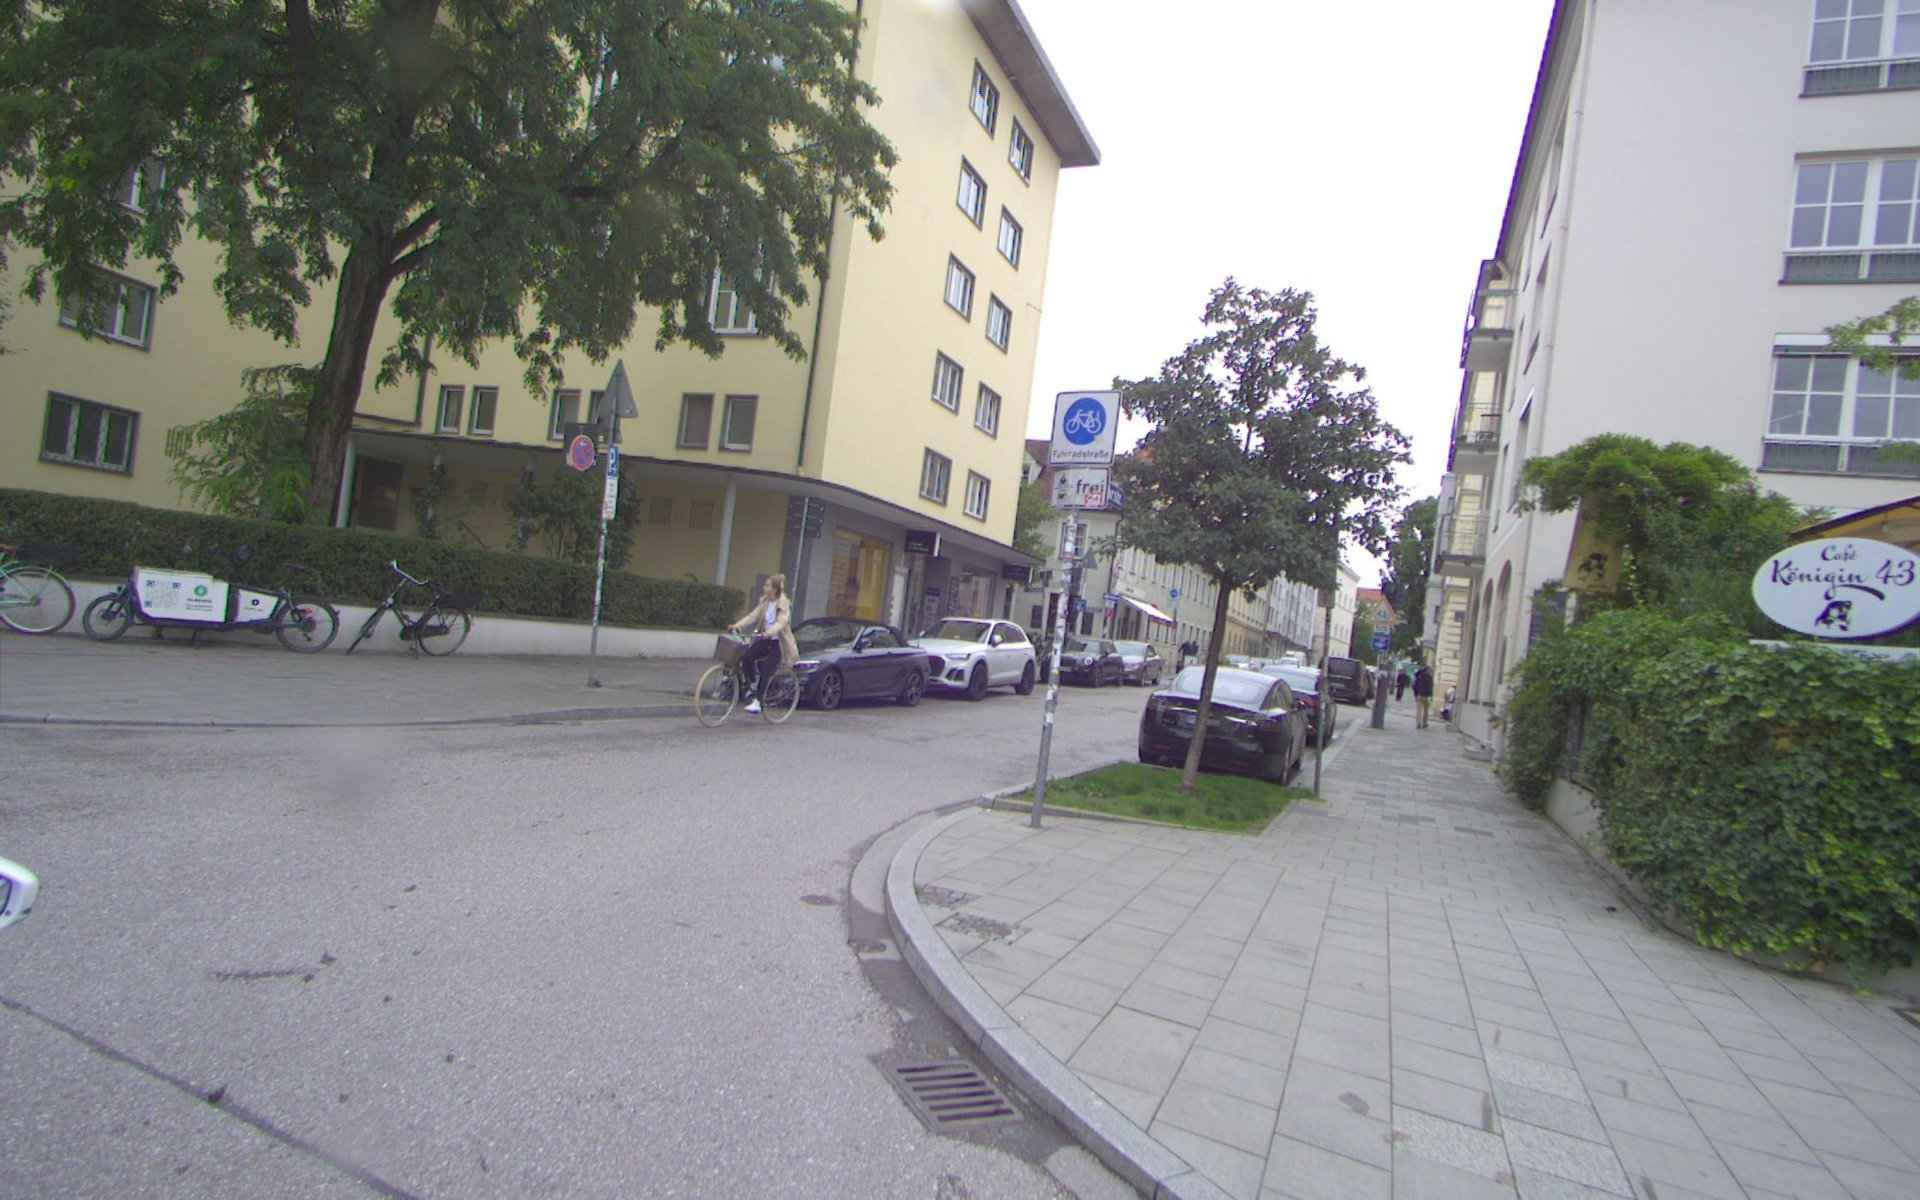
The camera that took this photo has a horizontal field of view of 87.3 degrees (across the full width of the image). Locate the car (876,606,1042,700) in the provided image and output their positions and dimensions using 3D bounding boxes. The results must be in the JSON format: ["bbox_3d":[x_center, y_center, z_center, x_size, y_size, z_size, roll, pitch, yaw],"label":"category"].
[{"bbox_3d":[0.107,1.110,21.420,1.825,1.682,4.316,4,-1,25],"label":"car"}]

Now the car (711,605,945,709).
[{"bbox_3d":[-1.995,0.972,16.599,1.633,1.383,4.332,4,-2,26],"label":"car"}]

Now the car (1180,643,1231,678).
[{"bbox_3d":[12.161,3.016,49.643,1.710,1.439,4.000,7,-1,23],"label":"car"}]

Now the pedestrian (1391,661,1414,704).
[{"bbox_3d":[22.125,4.126,50.293,0.774,2.038,0.832,7,0,19],"label":"pedestrian"}]

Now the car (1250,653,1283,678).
[{"bbox_3d":[20.482,4.341,67.078,1.662,1.426,3.999,7,0,21],"label":"car"}]

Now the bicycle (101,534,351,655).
[{"bbox_3d":[-8.408,-0.032,11.626,0.631,1.129,2.166,7,-1,41],"label":"bicycle"}]

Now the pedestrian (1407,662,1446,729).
[{"bbox_3d":[12.939,2.638,27.947,0.774,1.735,0.831,7,0,24],"label":"pedestrian"}]

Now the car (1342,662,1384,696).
[{"bbox_3d":[22.430,4.361,55.904,1.797,1.536,4.237,7,0,25],"label":"car"}]

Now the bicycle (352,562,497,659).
[{"bbox_3d":[-7.087,0.170,13.412,0.452,1.144,1.687,7,-1,23],"label":"bicycle"}]

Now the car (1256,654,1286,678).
[{"bbox_3d":[22.020,4.626,71.213,1.662,1.426,3.502,7,0,21],"label":"car"}]

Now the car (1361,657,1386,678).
[{"bbox_3d":[34.476,5.618,83.852,1.673,1.526,3.998,7,0,23],"label":"car"}]

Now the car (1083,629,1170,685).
[{"bbox_3d":[5.652,1.941,33.795,1.792,1.548,3.999,7,-1,24],"label":"car"}]

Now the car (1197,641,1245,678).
[{"bbox_3d":[14.104,3.231,54.154,1.757,1.682,4.000,7,-1,23],"label":"car"}]

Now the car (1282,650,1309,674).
[{"bbox_3d":[27.147,5.018,81.302,1.757,1.682,4.001,7,-1,21],"label":"car"}]

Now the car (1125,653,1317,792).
[{"bbox_3d":[3.916,1.632,14.458,1.934,1.415,4.505,7,-1,23],"label":"car"}]

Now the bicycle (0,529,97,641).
[{"bbox_3d":[-10.297,-0.217,10.419,1.923,1.098,0.526,6,0,-23],"label":"bicycle"}]

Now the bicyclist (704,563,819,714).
[{"bbox_3d":[-2.363,0.474,12.073,0.684,1.676,1.005,7,0,28],"label":"bicyclist"}]

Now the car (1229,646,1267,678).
[{"bbox_3d":[17.914,3.857,62.447,1.757,1.682,4.001,7,-1,21],"label":"car"}]

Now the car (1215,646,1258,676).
[{"bbox_3d":[16.016,3.563,58.136,1.757,1.431,3.999,7,-1,23],"label":"car"}]

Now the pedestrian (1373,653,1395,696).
[{"bbox_3d":[21.391,3.748,50.762,0.774,2.038,0.832,7,0,19],"label":"pedestrian"}]

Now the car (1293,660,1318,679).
[{"bbox_3d":[32.718,6.546,95.208,1.673,1.526,3.997,7,0,24],"label":"car"}]

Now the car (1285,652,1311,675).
[{"bbox_3d":[28.905,5.425,85.912,1.757,1.682,4.001,7,-1,21],"label":"car"}]

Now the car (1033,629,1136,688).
[{"bbox_3d":[3.777,1.761,29.989,1.794,1.417,3.999,7,-1,25],"label":"car"}]

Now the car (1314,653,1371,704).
[{"bbox_3d":[16.191,3.301,42.485,1.787,1.796,3.998,7,-1,25],"label":"car"}]

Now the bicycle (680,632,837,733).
[{"bbox_3d":[-2.378,0.996,12.156,0.673,1.036,1.965,7,-1,28],"label":"bicycle"}]

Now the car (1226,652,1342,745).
[{"bbox_3d":[6.885,2.016,21.137,1.693,1.548,3.998,7,-1,25],"label":"car"}]

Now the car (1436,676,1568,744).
[{"bbox_3d":[16.864,3.402,31.483,3.420,1.548,1.575,7,0,26],"label":"car"}]

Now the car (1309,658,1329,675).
[{"bbox_3d":[39.575,7.316,110.847,1.743,1.616,3.998,8,0,23],"label":"car"}]

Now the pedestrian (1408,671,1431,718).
[{"bbox_3d":[21.293,4.376,46.645,0.742,2.038,0.831,7,0,25],"label":"pedestrian"}]

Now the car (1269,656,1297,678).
[{"bbox_3d":[24.236,5.004,75.522,1.662,1.426,3.502,7,0,21],"label":"car"}]
